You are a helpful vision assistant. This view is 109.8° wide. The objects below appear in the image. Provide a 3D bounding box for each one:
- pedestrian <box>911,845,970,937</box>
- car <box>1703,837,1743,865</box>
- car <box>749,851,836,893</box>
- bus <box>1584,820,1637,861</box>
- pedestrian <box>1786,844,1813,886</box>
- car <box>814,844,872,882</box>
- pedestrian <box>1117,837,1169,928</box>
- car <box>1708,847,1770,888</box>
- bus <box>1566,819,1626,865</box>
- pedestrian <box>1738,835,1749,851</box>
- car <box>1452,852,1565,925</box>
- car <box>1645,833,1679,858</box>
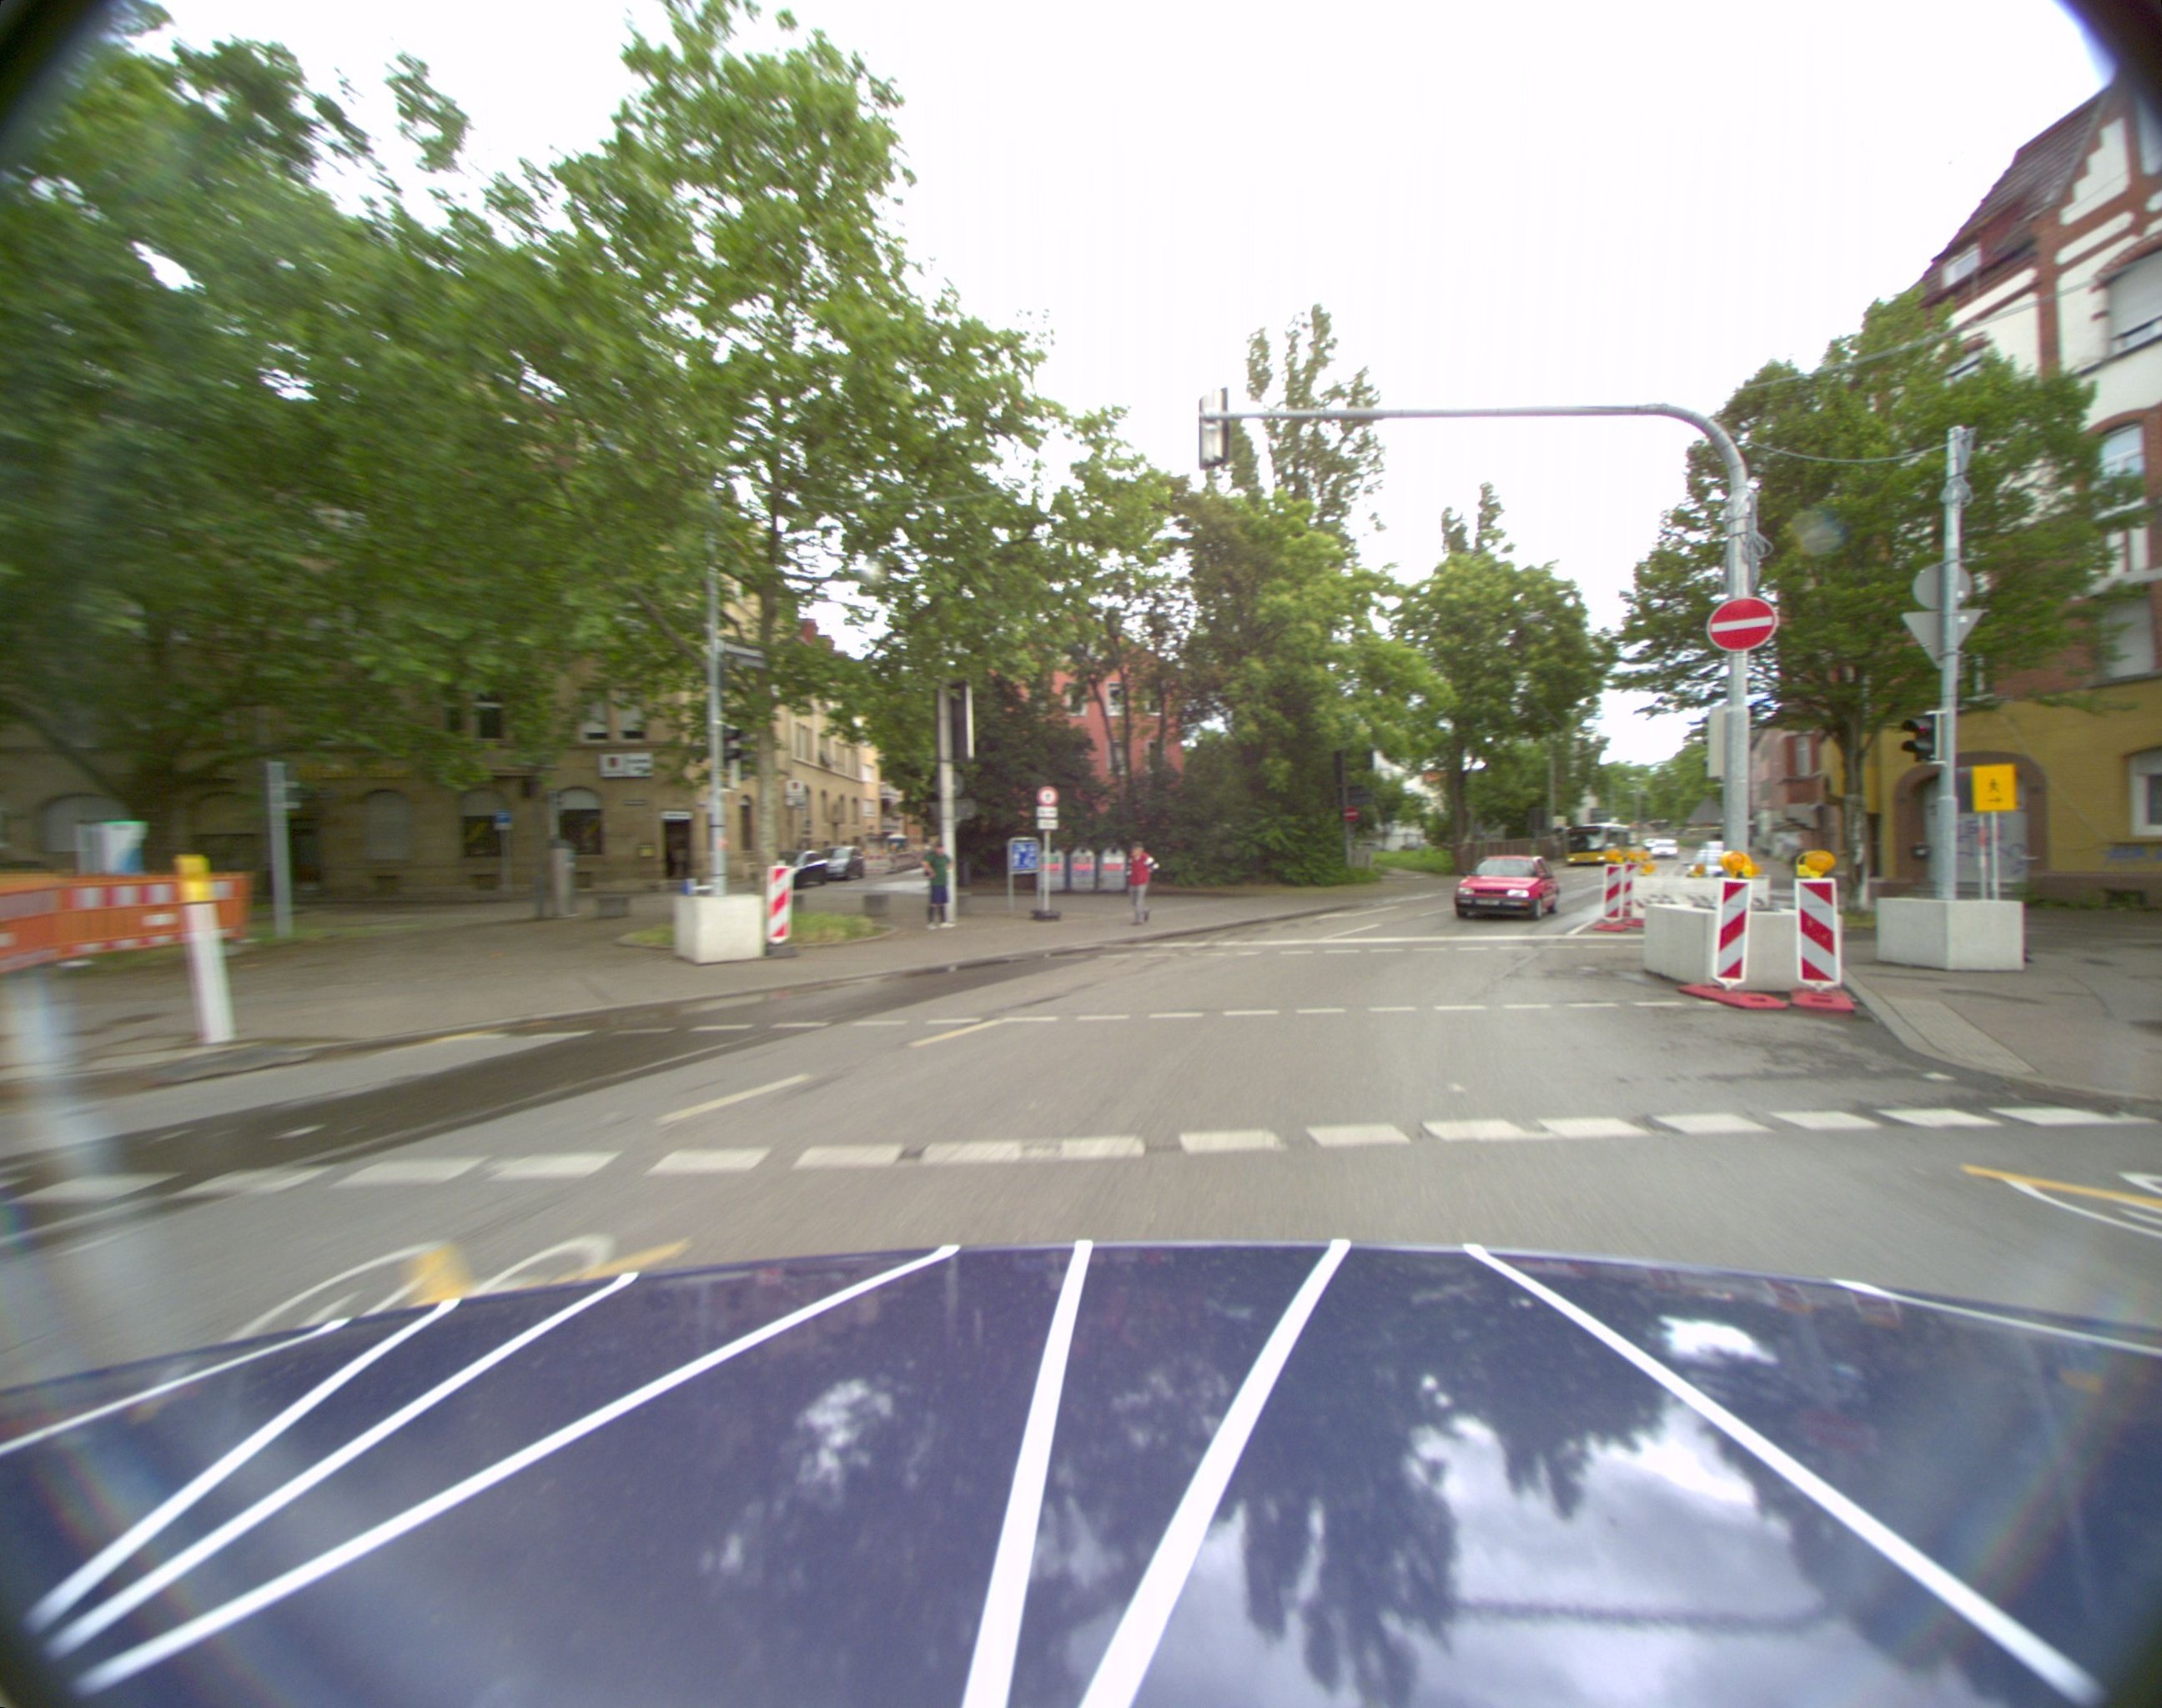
[{"bbox_3d":[-2.695,0.684,14.589,0.731,1.688,0.839,2,2,32],"label":"pedestrian"},{"bbox_3d":[42.640,-0.218,50.529,1.954,1.724,4.783,0,1,40],"label":"car"},{"bbox_3d":[-11.195,0.659,29.757,1.730,1.456,4.089,1,1,2],"label":"car"},{"bbox_3d":[44.872,-1.198,64.272,2.664,3.117,10.059,-3,0,40],"label":"bus"},{"bbox_3d":[27.733,0.437,29.332,0.660,1.600,0.634,-2,-1,40],"label":"pedestrian"},{"bbox_3d":[-11.122,0.373,35.720,1.620,1.581,3.997,0,3,-3],"label":"car"},{"bbox_3d":[1.306,0.574,16.026,0.779,1.821,0.729,4,4,40],"label":"pedestrian"},{"bbox_3d":[25.793,0.515,29.813,1.725,1.477,4.400,-1,-1,41],"label":"car"},{"bbox_3d":[38.664,-0.944,56.880,2.673,3.120,9.235,-3,0,40],"label":"bus"},{"bbox_3d":[73.813,-1.269,84.672,0.761,1.733,0.987,-3,-1,37],"label":"pedestrian"},{"bbox_3d":[10.058,0.691,17.731,1.846,1.414,4.181,1,2,35],"label":"car"},{"bbox_3d":[52.323,-0.760,68.358,2.069,1.776,4.464,-3,4,42],"label":"car"}]
